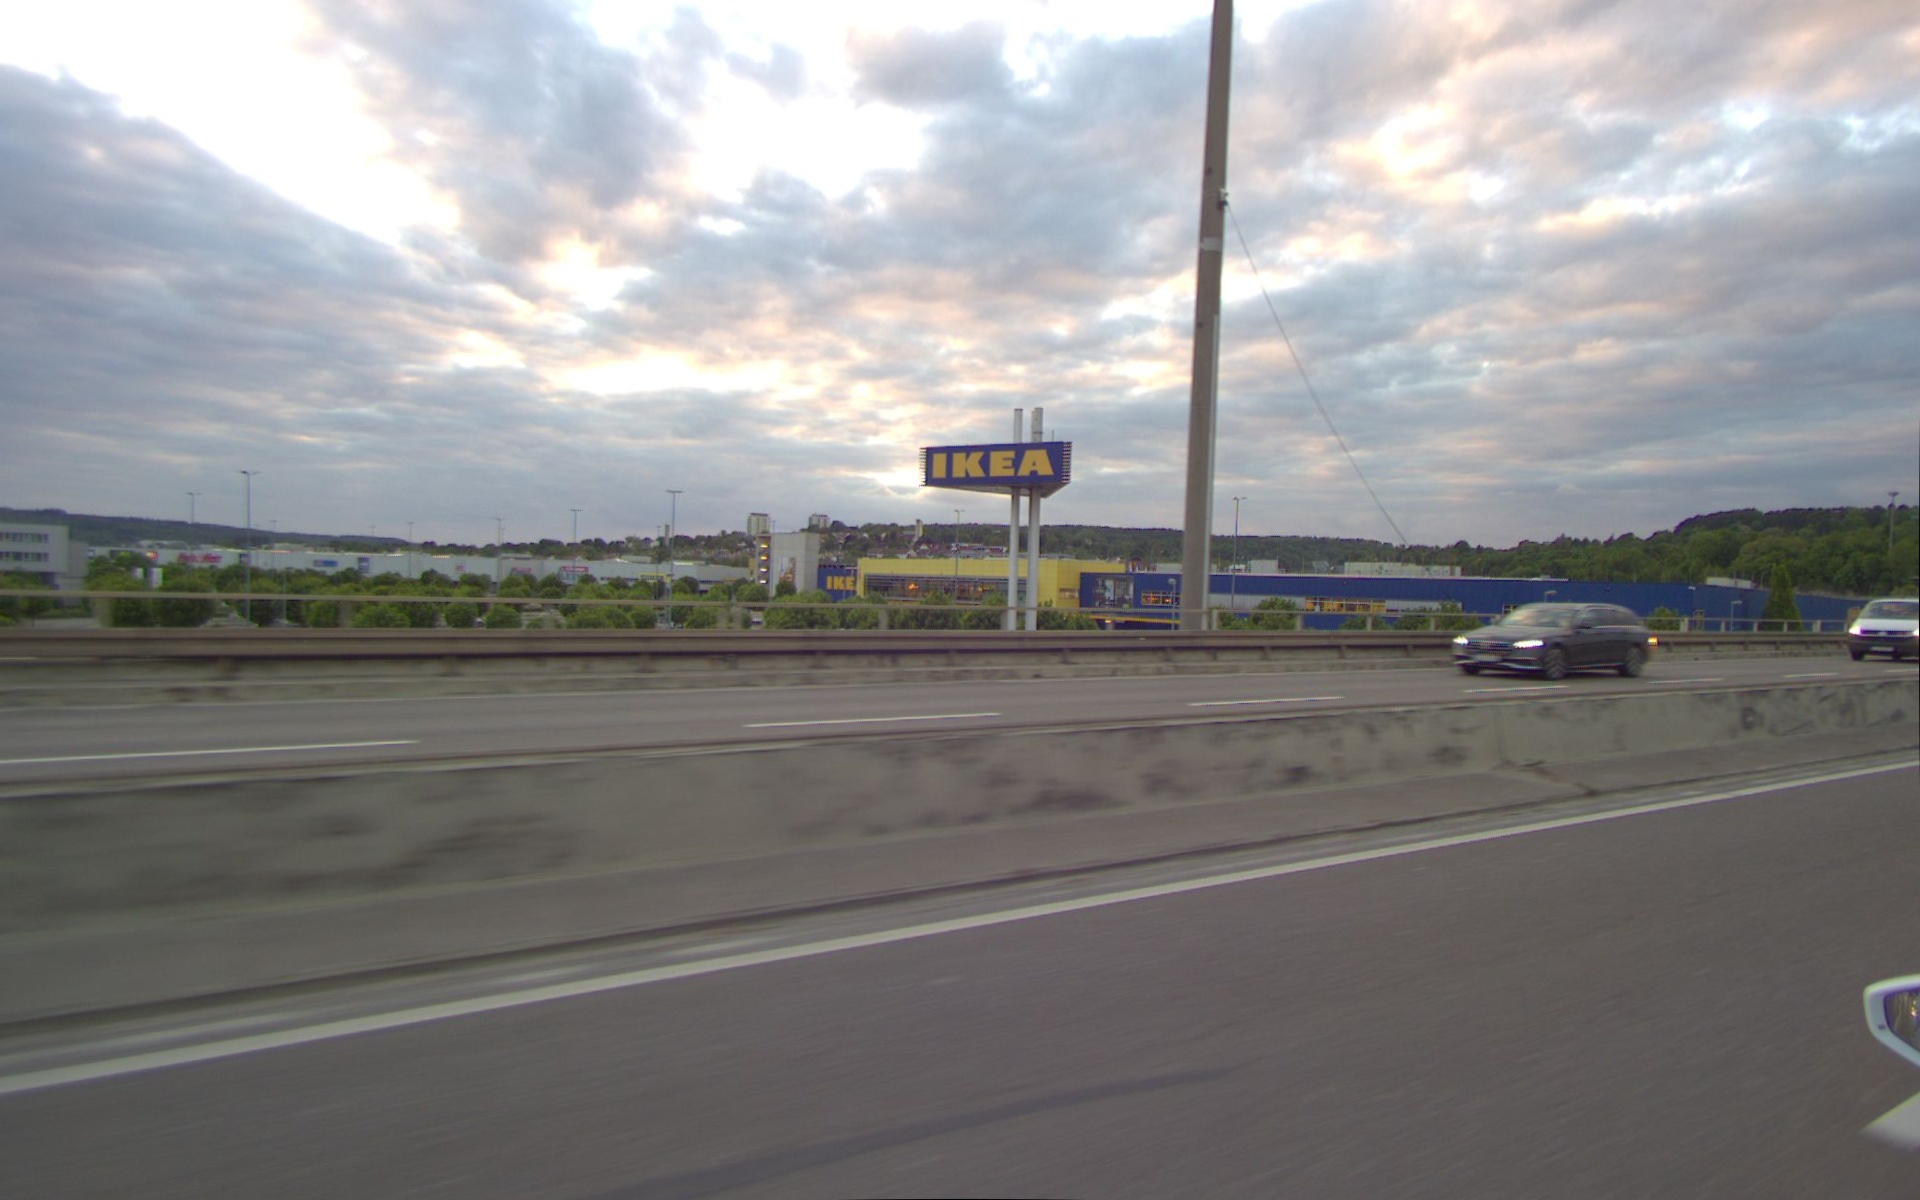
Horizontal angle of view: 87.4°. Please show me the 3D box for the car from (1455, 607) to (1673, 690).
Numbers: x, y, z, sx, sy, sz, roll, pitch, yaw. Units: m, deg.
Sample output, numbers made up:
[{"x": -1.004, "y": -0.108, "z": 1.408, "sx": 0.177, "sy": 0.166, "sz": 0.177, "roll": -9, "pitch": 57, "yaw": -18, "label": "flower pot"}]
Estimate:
[{"x": 12.379, "y": 0.911, "z": 20.490, "sx": 4.846, "sy": 1.494, "sz": 1.818, "roll": 0, "pitch": 0, "yaw": -32, "label": "car"}]

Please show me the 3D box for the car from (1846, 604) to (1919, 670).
[{"x": 29.907, "y": 1.132, "z": 31.339, "sx": 5.398, "sy": 1.926, "sz": 1.891, "roll": 1, "pitch": 0, "yaw": -32, "label": "car"}]
